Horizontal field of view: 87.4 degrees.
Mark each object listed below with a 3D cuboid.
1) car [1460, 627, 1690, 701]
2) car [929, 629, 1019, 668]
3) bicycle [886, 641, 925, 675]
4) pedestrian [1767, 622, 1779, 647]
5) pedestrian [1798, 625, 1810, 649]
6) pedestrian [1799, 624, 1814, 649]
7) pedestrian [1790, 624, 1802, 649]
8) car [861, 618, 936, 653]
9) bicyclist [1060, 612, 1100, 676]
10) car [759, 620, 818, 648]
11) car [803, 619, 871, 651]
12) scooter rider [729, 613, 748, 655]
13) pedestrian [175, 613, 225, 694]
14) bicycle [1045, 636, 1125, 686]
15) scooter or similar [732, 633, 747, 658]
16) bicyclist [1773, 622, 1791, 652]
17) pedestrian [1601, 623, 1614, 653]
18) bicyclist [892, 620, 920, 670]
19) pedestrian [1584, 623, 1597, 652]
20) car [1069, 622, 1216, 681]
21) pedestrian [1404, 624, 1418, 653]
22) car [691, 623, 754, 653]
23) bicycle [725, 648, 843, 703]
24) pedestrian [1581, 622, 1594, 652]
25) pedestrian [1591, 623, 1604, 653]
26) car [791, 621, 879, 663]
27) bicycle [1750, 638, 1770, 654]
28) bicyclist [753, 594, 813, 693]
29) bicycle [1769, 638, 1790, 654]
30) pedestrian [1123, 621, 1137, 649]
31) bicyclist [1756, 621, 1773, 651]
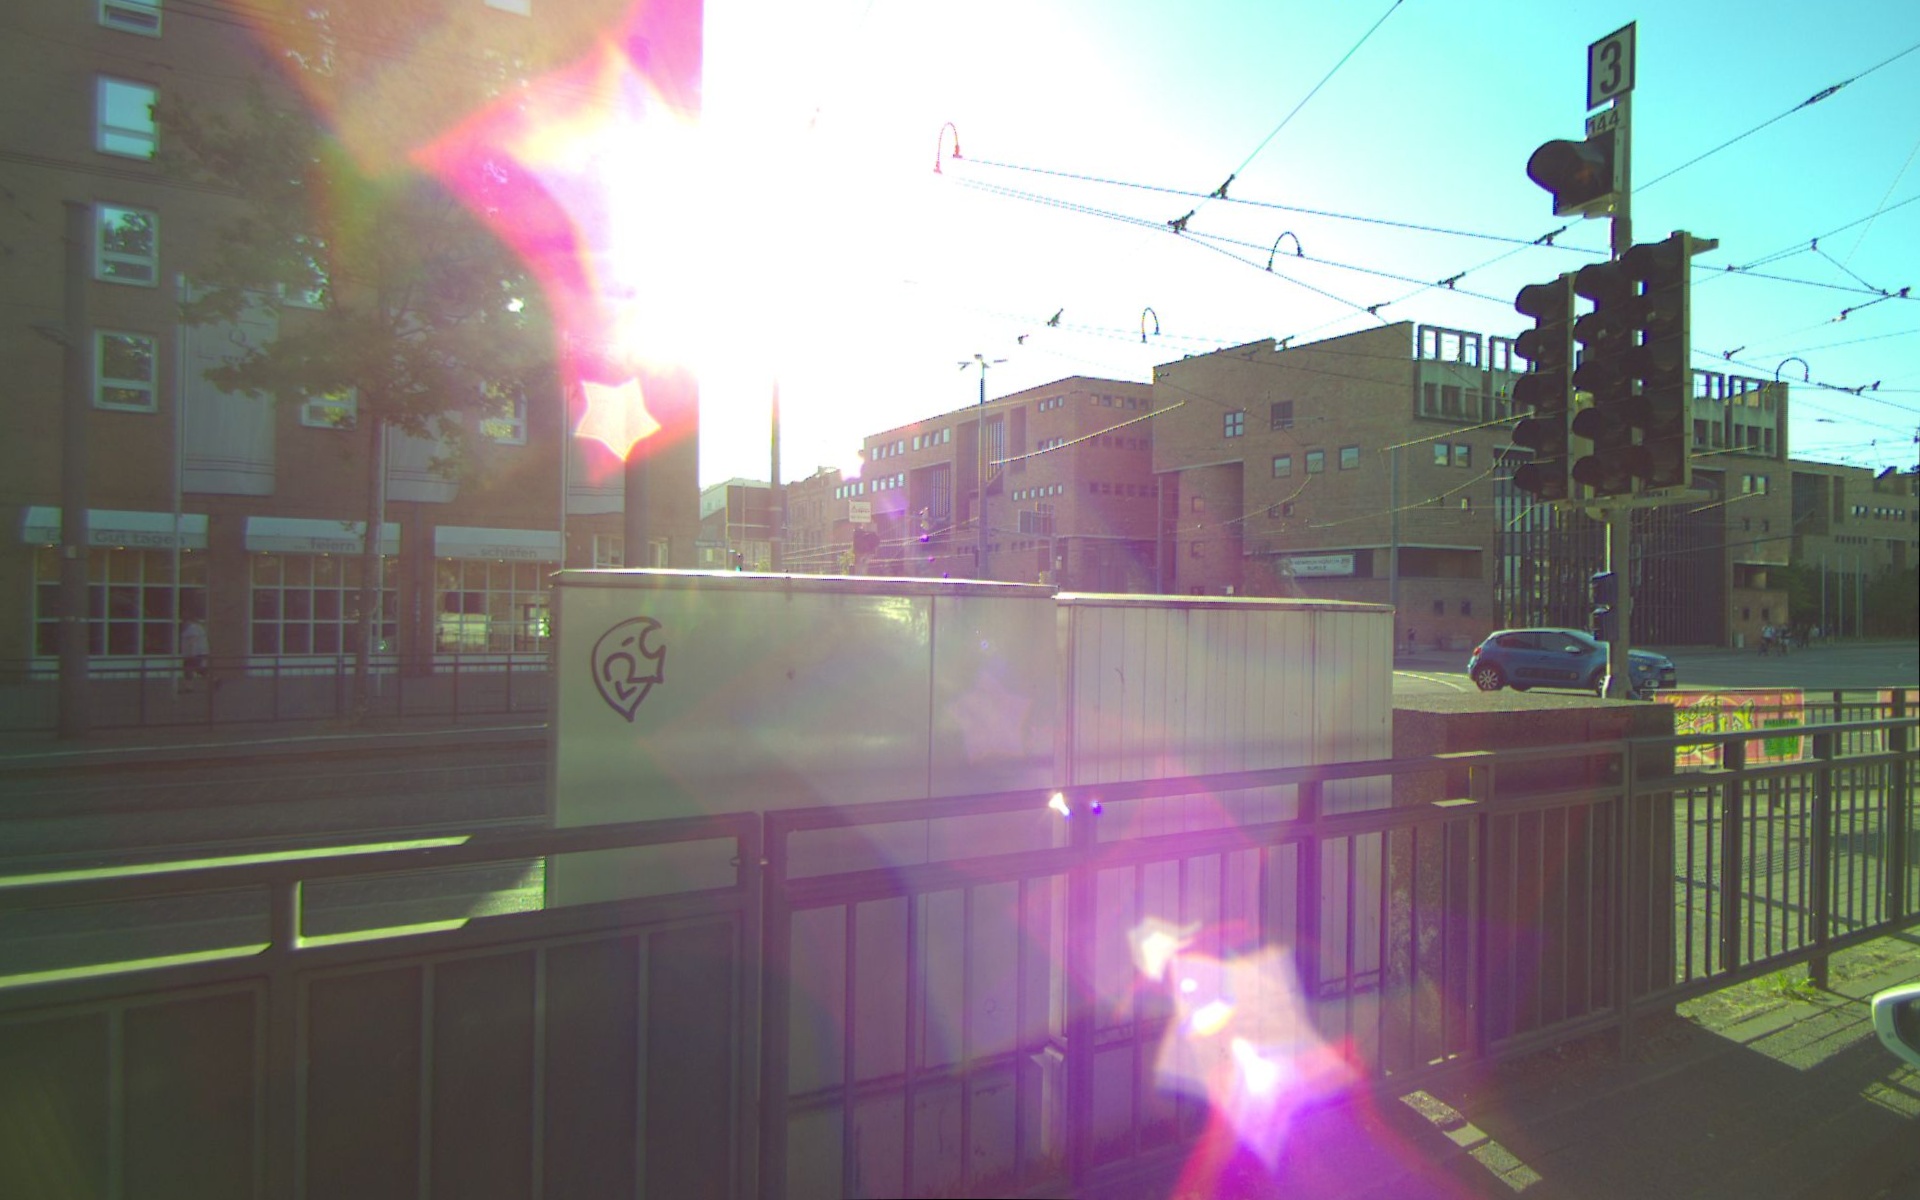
[{"bbox_3d":[13.558,1.352,22.365,1.979,1.476,3.931,1,-2,-33],"label":"car"},{"bbox_3d":[0.531,1.962,41.575,1.807,1.453,3.884,1,-1,-35],"label":"car"},{"bbox_3d":[-1.912,1.981,34.819,0.621,1.078,1.916,1,-1,-27],"label":"bicycle"},{"bbox_3d":[60.945,2.594,75.275,0.538,1.834,0.488,1,-1,-23],"label":"pedestrian"},{"bbox_3d":[61.962,2.711,73.735,0.538,1.803,0.521,1,-1,-23],"label":"pedestrian"},{"bbox_3d":[62.633,2.725,74.336,0.538,1.834,0.640,1,-1,-23],"label":"pedestrian"},{"bbox_3d":[62.612,2.710,75.231,0.538,1.834,0.488,1,-1,-23],"label":"pedestrian"},{"bbox_3d":[-3.275,1.839,52.876,1.981,1.719,4.315,1,-2,-36],"label":"car"},{"bbox_3d":[3.282,1.190,27.553,0.683,1.703,0.899,1,-1,-31],"label":"bicyclist"},{"bbox_3d":[-10.851,2.119,63.411,1.981,1.719,4.315,1,-2,-36],"label":"car"},{"bbox_3d":[-7.069,1.974,57.439,1.981,1.719,4.315,1,-2,-36],"label":"car"},{"bbox_3d":[-10.293,1.589,46.687,0.727,1.921,0.661,1,-2,-27],"label":"scooter rider"},{"bbox_3d":[-15.525,1.085,20.532,0.717,1.606,0.586,1,1,-31],"label":"pedestrian"},{"bbox_3d":[3.388,1.630,27.422,1.060,1.243,2.146,0,0,-31],"label":"bicycle"},{"bbox_3d":[-10.263,2.108,46.702,0.397,1.119,1.202,1,-1,-27],"label":"scooter or similar"},{"bbox_3d":[46.426,2.068,56.716,0.782,1.697,0.589,1,-1,-36],"label":"bicyclist"},{"bbox_3d":[36.229,2.122,56.225,0.530,1.672,0.622,-1,-1,41],"label":"pedestrian"},{"bbox_3d":[-1.879,1.548,34.766,0.631,1.686,0.901,1,-1,-27],"label":"bicyclist"},{"bbox_3d":[36.070,2.153,57.459,0.530,1.672,0.622,-1,-1,41],"label":"pedestrian"},{"bbox_3d":[5.388,1.487,30.210,1.805,1.604,4.457,1,-1,-32],"label":"car"},{"bbox_3d":[25.825,2.208,57.516,0.560,1.635,0.545,0,-1,1],"label":"pedestrian"},{"bbox_3d":[-13.328,2.076,56.164,1.980,1.538,4.356,0,-1,-35],"label":"car"},{"bbox_3d":[-3.298,1.391,18.781,2.142,0.946,0.668,0,-1,22],"label":"bicycle"},{"bbox_3d":[35.150,2.055,56.297,0.530,1.672,0.622,-1,-1,41],"label":"pedestrian"},{"bbox_3d":[36.719,2.190,57.856,0.530,1.672,0.622,-1,-1,41],"label":"pedestrian"},{"bbox_3d":[-5.736,1.857,45.492,1.980,1.750,4.804,1,-1,-34],"label":"car"},{"bbox_3d":[45.670,2.618,57.327,1.823,0.893,0.509,1,-2,-38],"label":"bicycle"},{"bbox_3d":[-3.307,0.801,18.786,0.836,1.809,0.752,0,-1,22],"label":"bicyclist"},{"bbox_3d":[46.323,2.587,56.770,1.823,0.893,0.509,1,-2,-38],"label":"bicycle"},{"bbox_3d":[10.138,2.102,59.917,0.608,1.635,0.539,-1,2,-35],"label":"pedestrian"},{"bbox_3d":[45.842,2.052,57.251,0.782,1.697,0.589,1,-1,-36],"label":"bicyclist"}]
